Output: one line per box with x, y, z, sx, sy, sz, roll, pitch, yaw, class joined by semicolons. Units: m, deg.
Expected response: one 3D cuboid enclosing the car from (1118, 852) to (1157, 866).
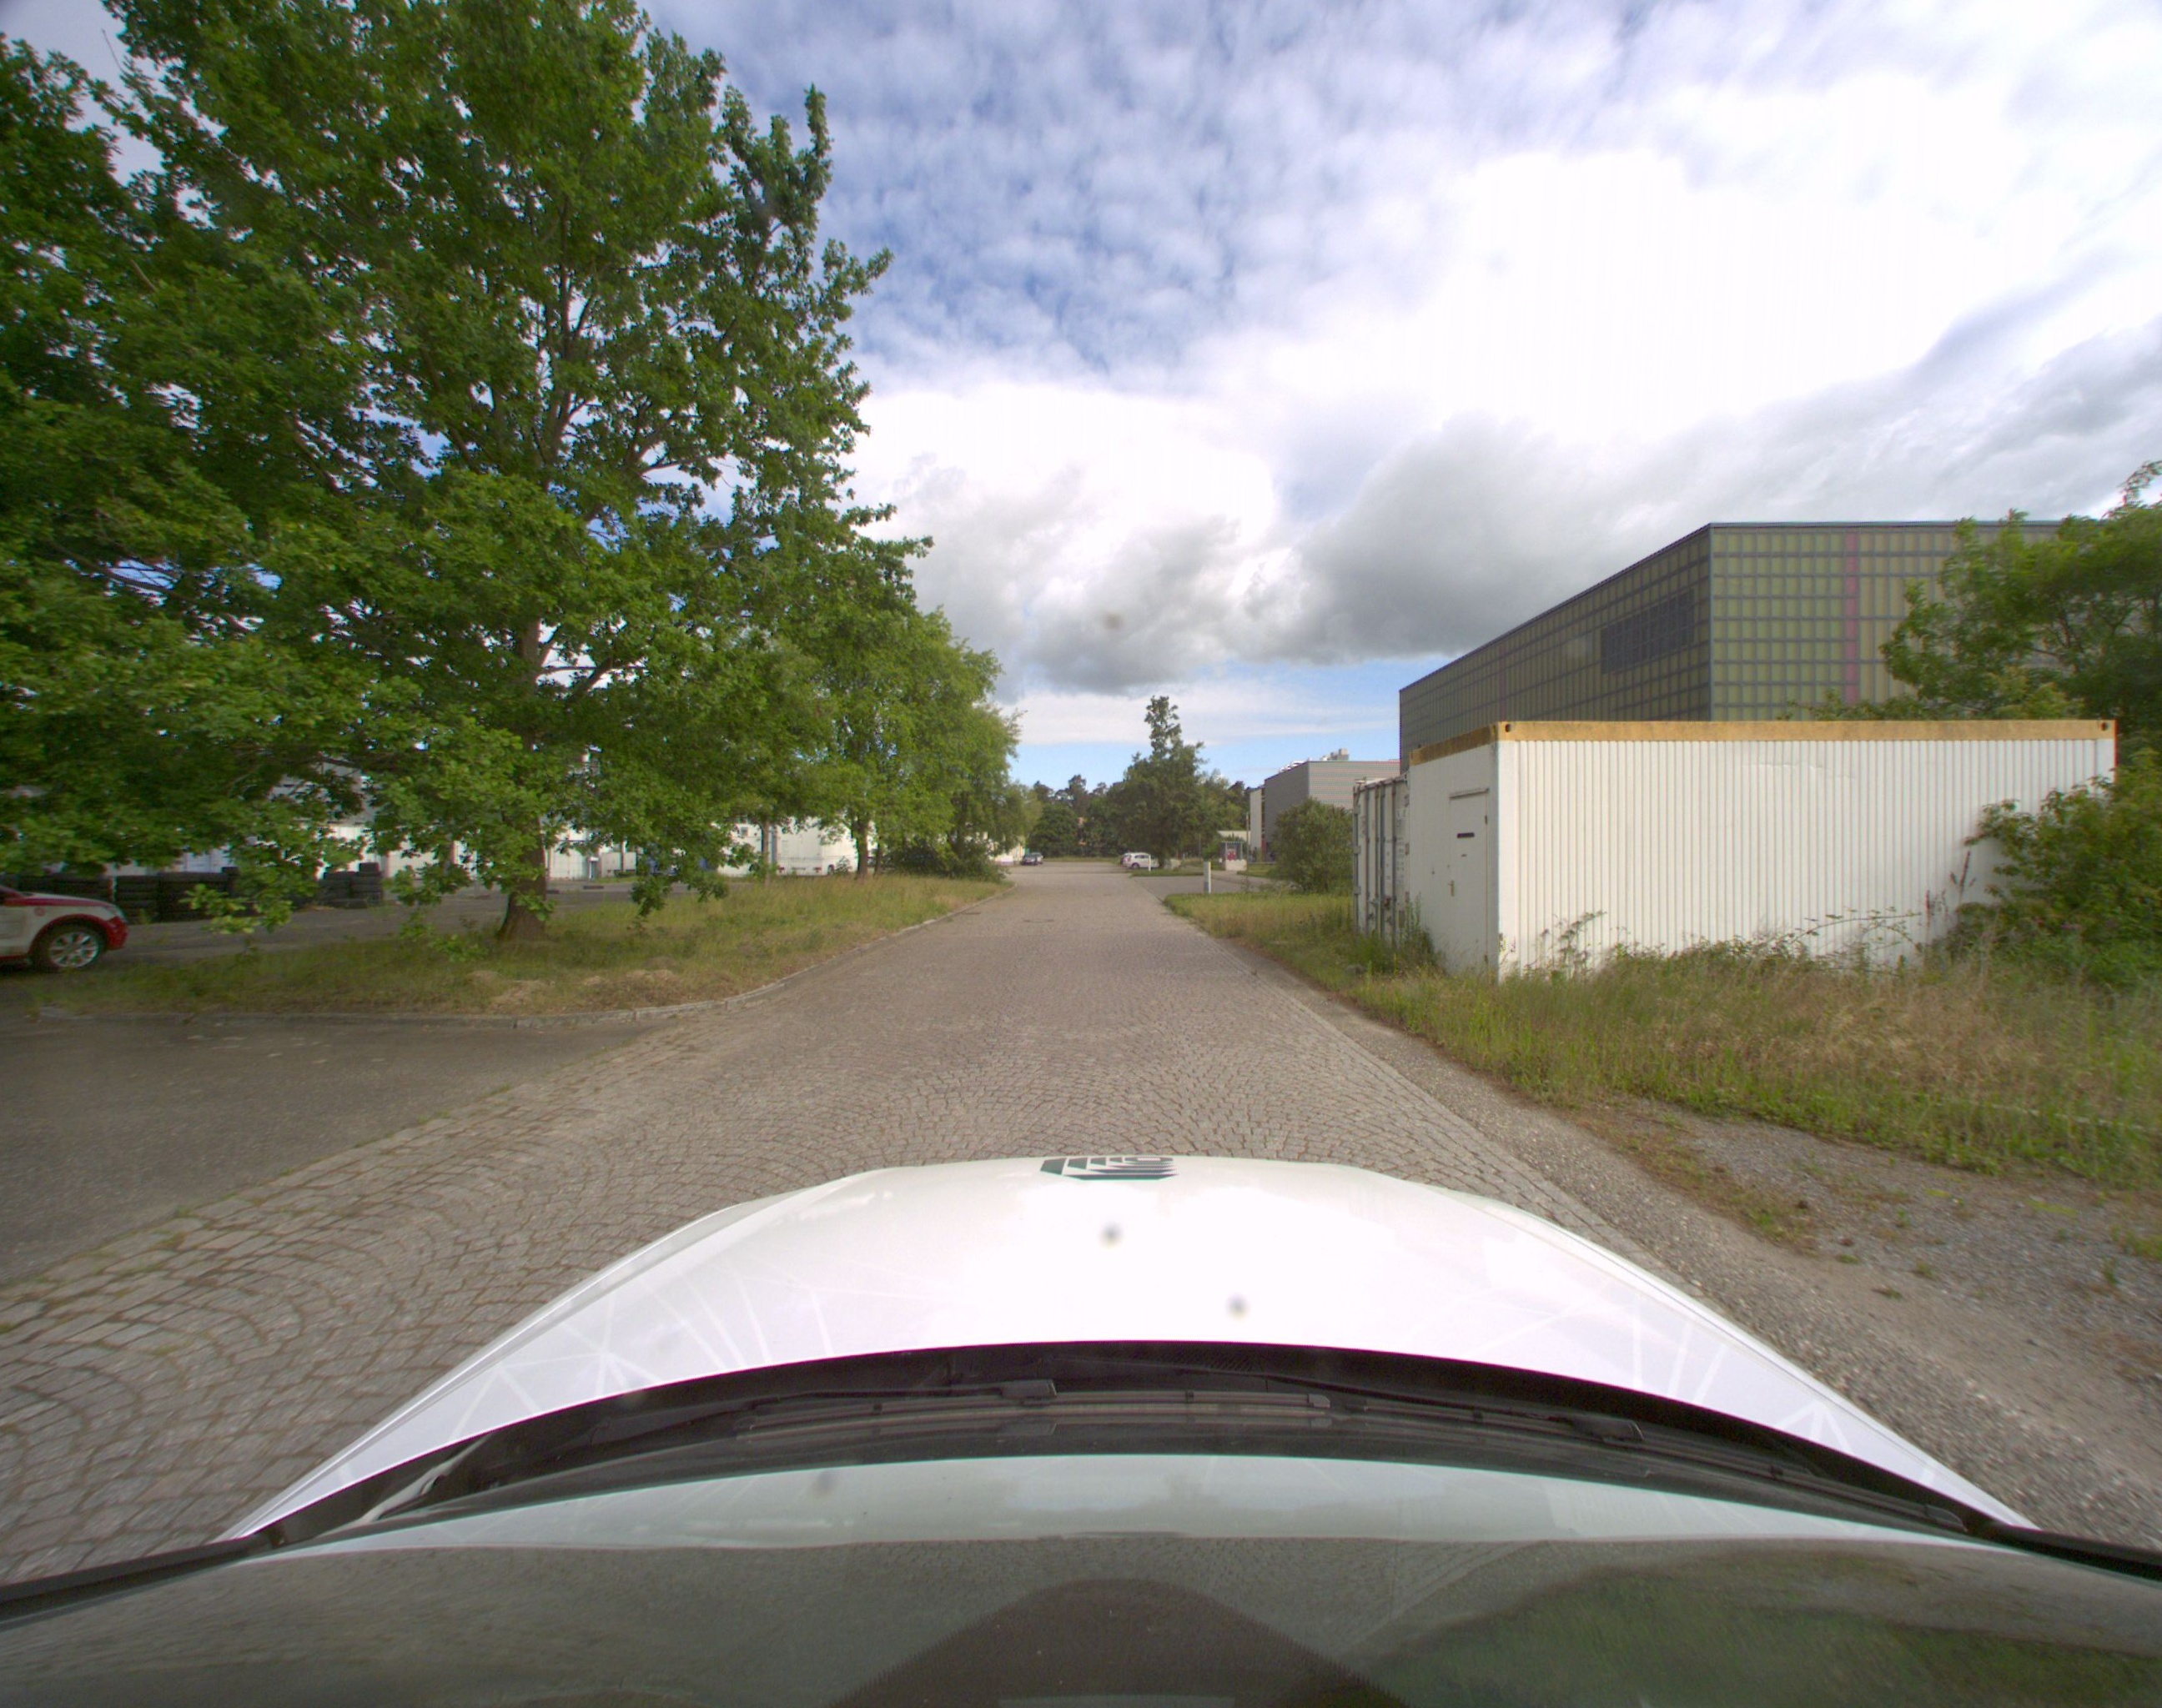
5.860;0.536;85.101;3.973;1.455;1.770;0;0;1;car

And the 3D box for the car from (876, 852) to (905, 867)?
-20.133;0.565;86.177;1.893;1.575;4.002;0;0;2;car

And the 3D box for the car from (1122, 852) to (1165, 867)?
5.864;0.508;77.156;3.973;1.455;1.697;0;0;1;car

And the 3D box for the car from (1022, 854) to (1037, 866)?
-6.233;0.682;98.999;1.744;1.364;3.997;0;0;-2;car

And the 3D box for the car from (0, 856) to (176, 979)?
-13.635;0.754;9.224;1.814;1.431;4.227;0;0;7;car

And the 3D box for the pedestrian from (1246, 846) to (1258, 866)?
17.502;0.168;83.579;0.919;2.013;1.144;0;0;-5;pedestrian

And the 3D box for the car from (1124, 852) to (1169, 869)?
5.992;0.591;74.987;3.973;1.455;2.000;0;-1;1;car

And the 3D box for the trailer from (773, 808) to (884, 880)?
-14.473;-0.523;47.878;2.645;3.705;10.730;0;0;3;trailer

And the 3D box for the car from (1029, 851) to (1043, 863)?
-5.966;0.401;109.232;1.744;1.454;3.997;0;0;-2;car

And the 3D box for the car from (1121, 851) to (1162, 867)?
5.966;0.480;80.196;3.973;1.455;1.770;0;0;1;car

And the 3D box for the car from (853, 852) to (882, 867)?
-22.775;0.558;87.165;1.893;1.575;4.002;0;0;2;car

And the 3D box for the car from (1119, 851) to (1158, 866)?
6.232;0.458;88.315;3.978;1.533;1.998;0;0;-3;car

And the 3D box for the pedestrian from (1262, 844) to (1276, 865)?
17.420;0.055;75.425;0.844;1.936;0.925;0;0;44;pedestrian
